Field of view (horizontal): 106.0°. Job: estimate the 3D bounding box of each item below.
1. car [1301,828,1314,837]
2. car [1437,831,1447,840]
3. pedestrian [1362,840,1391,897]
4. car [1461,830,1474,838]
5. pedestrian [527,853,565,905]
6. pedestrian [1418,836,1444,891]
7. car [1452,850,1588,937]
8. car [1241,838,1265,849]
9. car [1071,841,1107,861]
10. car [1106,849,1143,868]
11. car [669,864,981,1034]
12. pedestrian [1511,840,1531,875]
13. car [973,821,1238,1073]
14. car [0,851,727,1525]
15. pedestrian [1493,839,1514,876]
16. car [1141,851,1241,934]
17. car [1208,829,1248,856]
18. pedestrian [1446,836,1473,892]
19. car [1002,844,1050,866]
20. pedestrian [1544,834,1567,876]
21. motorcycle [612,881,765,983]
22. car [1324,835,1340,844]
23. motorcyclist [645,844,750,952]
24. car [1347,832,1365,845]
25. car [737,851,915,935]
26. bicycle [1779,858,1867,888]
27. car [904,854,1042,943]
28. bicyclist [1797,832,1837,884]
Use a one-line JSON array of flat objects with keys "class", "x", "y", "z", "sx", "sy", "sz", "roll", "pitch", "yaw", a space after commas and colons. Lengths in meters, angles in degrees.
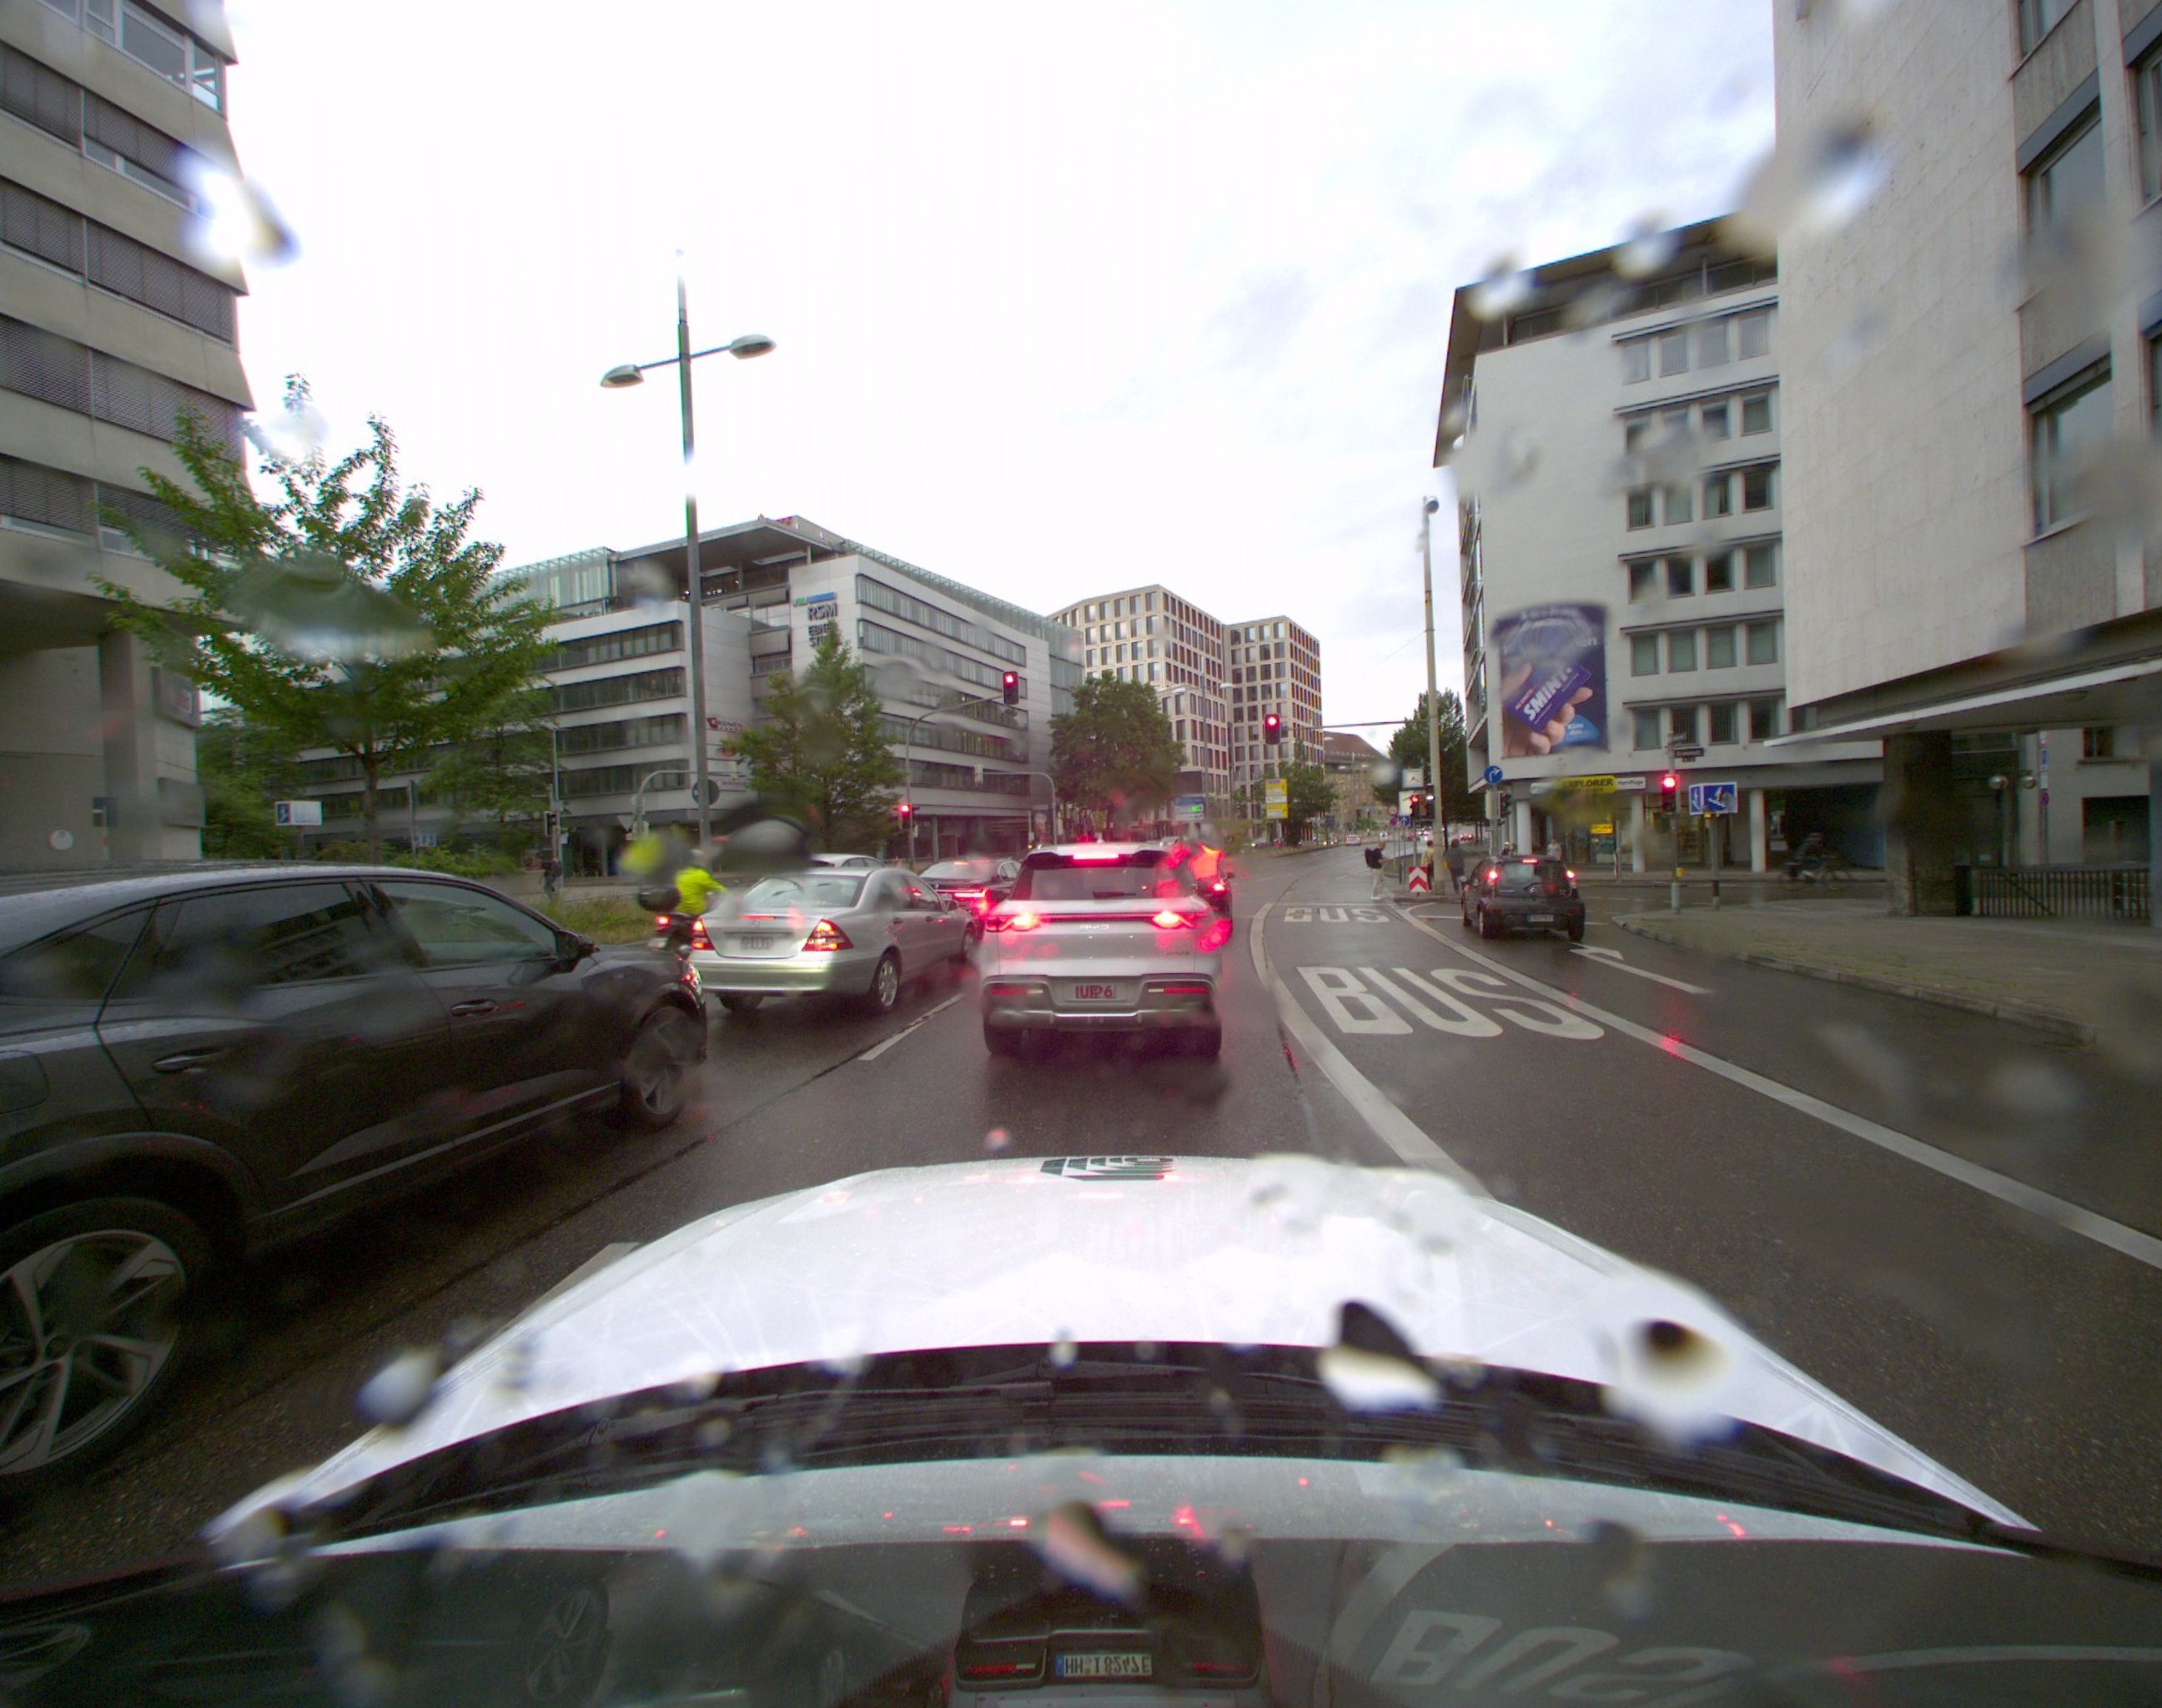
[{"class": "car", "x": 45.255, "y": -4.288, "z": 162.784, "sx": 1.590, "sy": 1.741, "sz": 3.467, "roll": -1, "pitch": -1, "yaw": 34}, {"class": "car", "x": 88.037, "y": -4.457, "z": 198.676, "sx": 1.975, "sy": 2.013, "sz": 4.025, "roll": -1, "pitch": 0, "yaw": 29}, {"class": "pedestrian", "x": 9.068, "y": 0.447, "z": 25.021, "sx": 0.764, "sy": 1.731, "sz": 0.599, "roll": -1, "pitch": 0, "yaw": 16}, {"class": "car", "x": 70.745, "y": -3.645, "z": 148.913, "sx": 1.677, "sy": 1.486, "sz": 4.025, "roll": -1, "pitch": -1, "yaw": 32}, {"class": "pedestrian", "x": -17.755, "y": 0.814, "z": 27.032, "sx": 0.672, "sy": 1.683, "sz": 0.766, "roll": -1, "pitch": 0, "yaw": 15}, {"class": "pedestrian", "x": 11.593, "y": 0.303, "z": 26.981, "sx": 0.742, "sy": 1.798, "sz": 0.821, "roll": -1, "pitch": 1, "yaw": 22}, {"class": "car", "x": 8.159, "y": 0.667, "z": 15.464, "sx": 1.558, "sy": 1.429, "sz": 4.018, "roll": -1, "pitch": -1, "yaw": 18}, {"class": "car", "x": 23.626, "y": -1.450, "z": 111.711, "sx": 1.974, "sy": 1.488, "sz": 4.025, "roll": -1, "pitch": 1, "yaw": 29}, {"class": "car", "x": 0.649, "y": -0.265, "z": 64.588, "sx": 1.630, "sy": 1.536, "sz": 4.172, "roll": -1, "pitch": 0, "yaw": 18}, {"class": "car", "x": 3.347, "y": 0.351, "z": 62.220, "sx": 1.675, "sy": 1.385, "sz": 3.888, "roll": -1, "pitch": -1, "yaw": 21}, {"class": "car", "x": -2.471, "y": 0.830, "z": 9.019, "sx": 1.561, "sy": 1.407, "sz": 4.120, "roll": -1, "pitch": -1, "yaw": 10}, {"class": "pedestrian", "x": 19.484, "y": 0.167, "z": 36.063, "sx": 0.657, "sy": 1.543, "sz": 0.618, "roll": -1, "pitch": 0, "yaw": -45}, {"class": "car", "x": 0.297, "y": 0.645, "z": 7.492, "sx": 1.768, "sy": 1.679, "sz": 4.004, "roll": -1, "pitch": -1, "yaw": 4}, {"class": "car", "x": -3.228, "y": 0.763, "z": 3.207, "sx": 1.642, "sy": 1.521, "sz": 4.274, "roll": -1, "pitch": 0, "yaw": 2}, {"class": "pedestrian", "x": 19.017, "y": 0.142, "z": 36.642, "sx": 0.657, "sy": 1.655, "sz": 0.662, "roll": -1, "pitch": 0, "yaw": -45}, {"class": "car", "x": 2.369, "y": 0.709, "z": 16.693, "sx": 1.682, "sy": 1.486, "sz": 4.013, "roll": -1, "pitch": -1, "yaw": 12}, {"class": "car", "x": 11.773, "y": -0.874, "z": 64.992, "sx": 1.975, "sy": 2.014, "sz": 4.876, "roll": -1, "pitch": -1, "yaw": 25}, {"class": "pedestrian", "x": 12.307, "y": 0.319, "z": 26.497, "sx": 0.742, "sy": 1.798, "sz": 0.821, "roll": -1, "pitch": 1, "yaw": 22}, {"class": "car", "x": -4.152, "y": 0.030, "z": 62.005, "sx": 1.976, "sy": 1.610, "sz": 4.022, "roll": -1, "pitch": 0, "yaw": 22}, {"class": "pedestrian", "x": 20.529, "y": 0.044, "z": 35.223, "sx": 0.778, "sy": 1.794, "sz": 0.662, "roll": -1, "pitch": 0, "yaw": -45}, {"class": "motorcycle", "x": -5.194, "y": 0.985, "z": 10.957, "sx": 0.795, "sy": 1.185, "sz": 2.034, "roll": -1, "pitch": -1, "yaw": 11}, {"class": "car", "x": 46.794, "y": -2.742, "z": 151.779, "sx": 1.974, "sy": 1.488, "sz": 4.025, "roll": -1, "pitch": 1, "yaw": 29}, {"class": "motorcyclist", "x": -5.168, "y": 0.564, "z": 11.037, "sx": 0.765, "sy": 1.380, "sz": 1.121, "roll": -1, "pitch": -1, "yaw": 10}, {"class": "car", "x": 35.811, "y": -2.040, "z": 105.936, "sx": 1.871, "sy": 1.643, "sz": 4.023, "roll": -1, "pitch": 0, "yaw": 24}, {"class": "car", "x": -4.969, "y": 0.705, "z": 16.510, "sx": 1.696, "sy": 1.486, "sz": 4.013, "roll": -1, "pitch": -1, "yaw": 11}, {"class": "bicycle", "x": 22.910, "y": 0.590, "z": 25.180, "sx": 2.008, "sy": 0.888, "sz": 0.405, "roll": -1, "pitch": 0, "yaw": 19}, {"class": "car", "x": -1.925, "y": 0.769, "z": 15.715, "sx": 1.561, "sy": 1.486, "sz": 4.010, "roll": -1, "pitch": -1, "yaw": 9}, {"class": "bicyclist", "x": 22.781, "y": 0.118, "z": 25.213, "sx": 0.761, "sy": 1.569, "sz": 0.535, "roll": -1, "pitch": 0, "yaw": 20}]
